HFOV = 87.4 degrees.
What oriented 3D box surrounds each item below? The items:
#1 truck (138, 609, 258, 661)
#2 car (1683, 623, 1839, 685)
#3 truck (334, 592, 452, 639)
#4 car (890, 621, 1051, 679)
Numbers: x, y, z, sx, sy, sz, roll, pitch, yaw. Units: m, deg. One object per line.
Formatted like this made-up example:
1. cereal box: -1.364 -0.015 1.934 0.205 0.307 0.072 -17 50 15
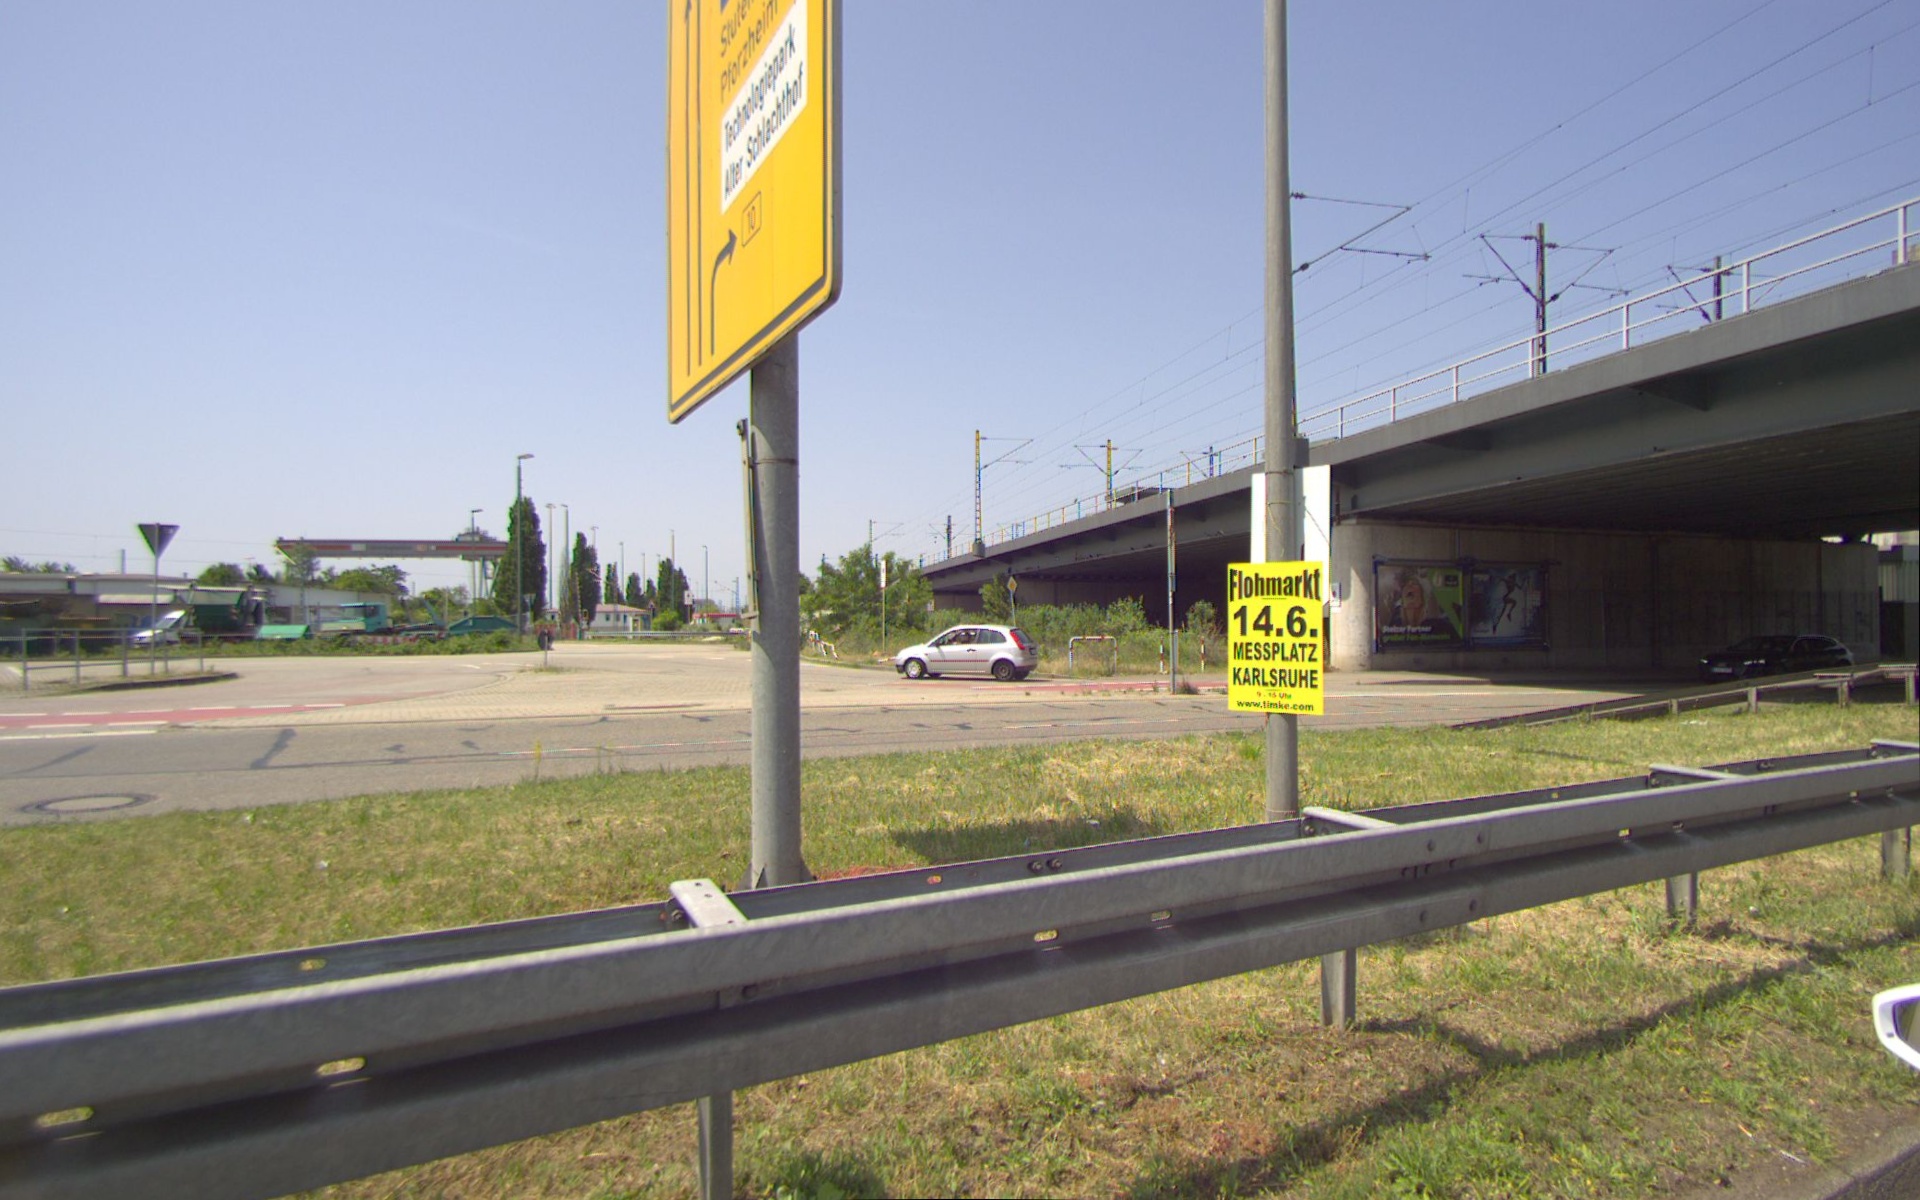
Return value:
1. truck: -46.207 2.210 61.085 1.963 2.997 5.456 -2 -4 27
2. car: 23.016 1.528 28.863 3.942 1.644 1.851 1 -1 -22
3. truck: -39.269 1.175 69.821 2.807 2.966 6.857 -2 -4 21
4. car: 0.313 1.325 26.780 3.919 1.460 2.002 0 -3 15
